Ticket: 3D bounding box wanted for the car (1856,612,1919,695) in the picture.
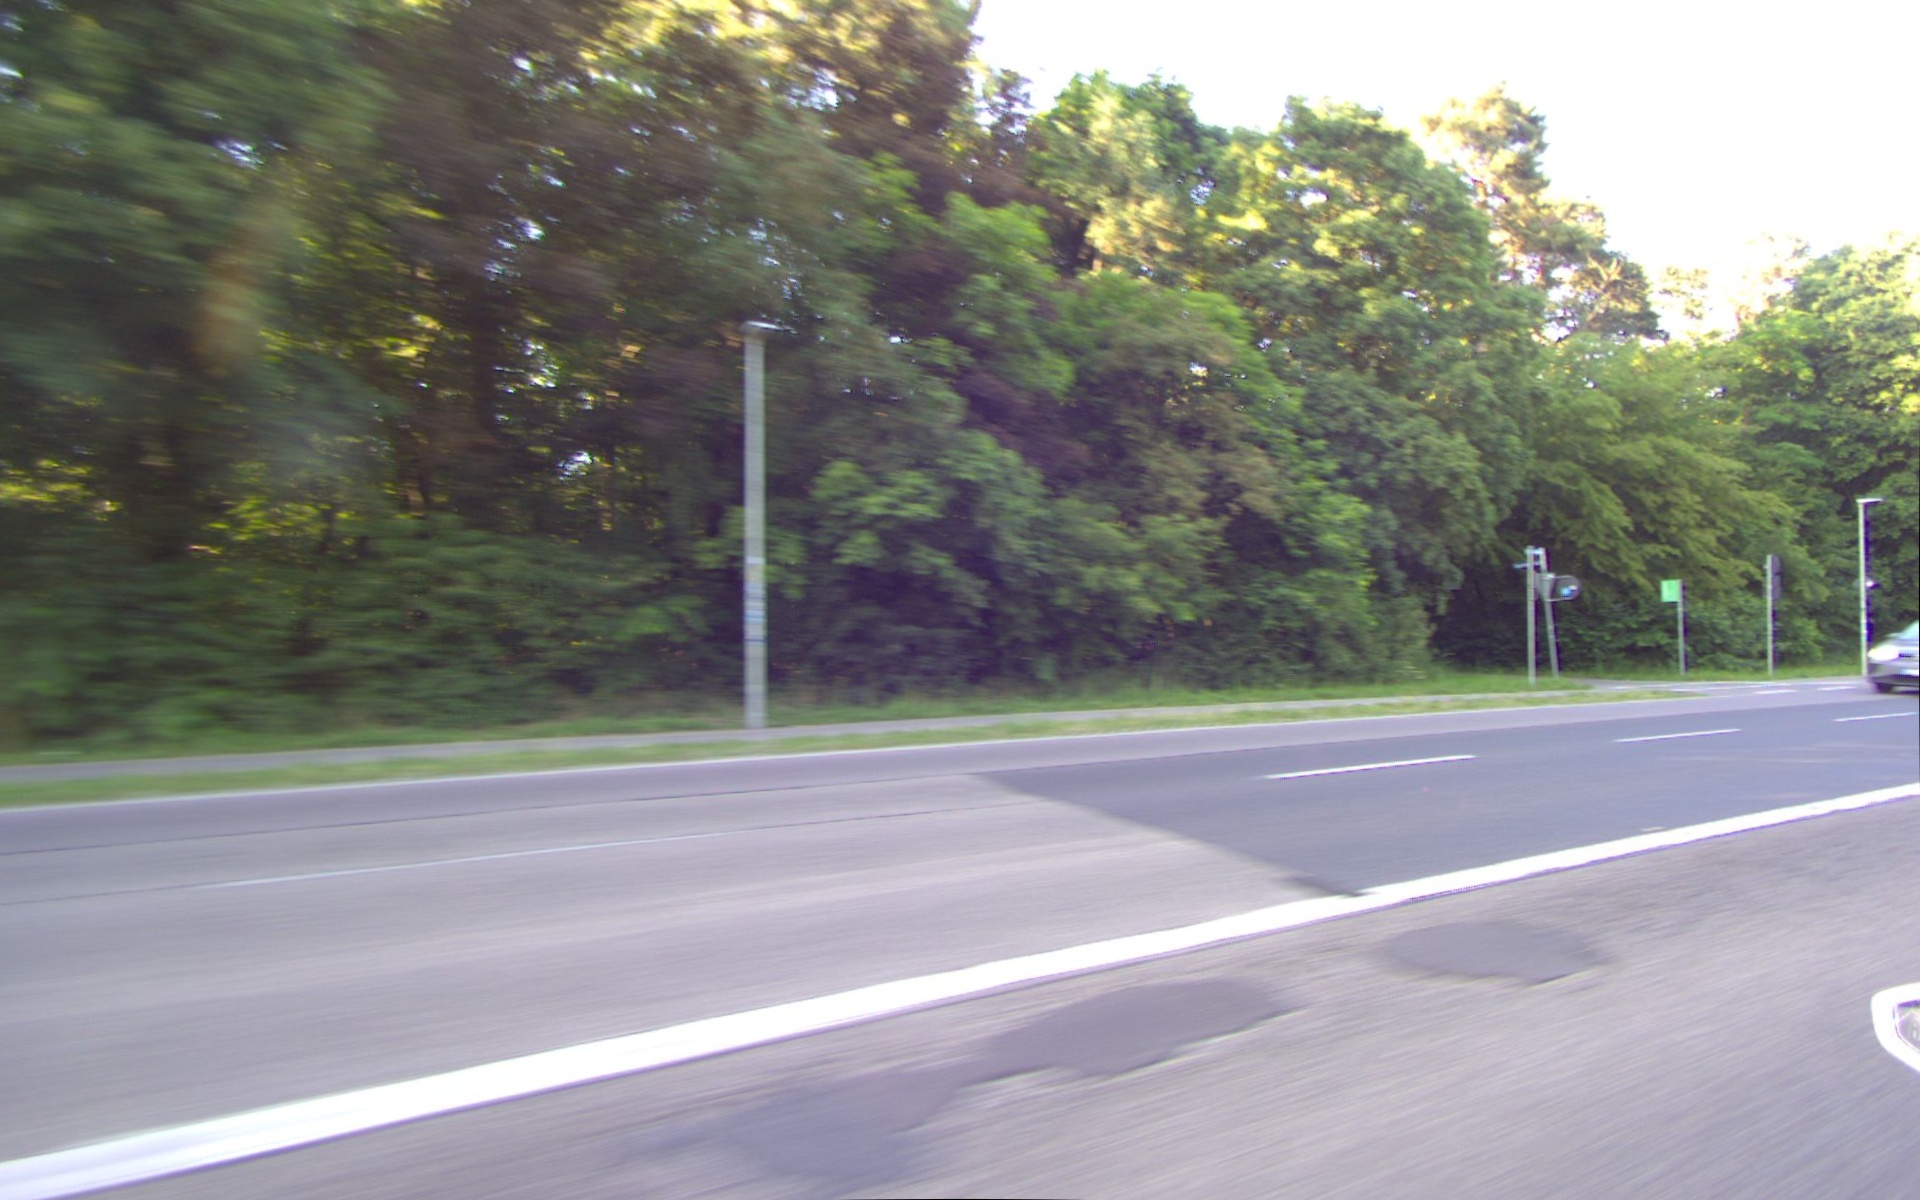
[{"bbox_3d":[21.163,1.122,21.339,4.397,1.632,1.886,1,1,-30],"label":"car"}]
